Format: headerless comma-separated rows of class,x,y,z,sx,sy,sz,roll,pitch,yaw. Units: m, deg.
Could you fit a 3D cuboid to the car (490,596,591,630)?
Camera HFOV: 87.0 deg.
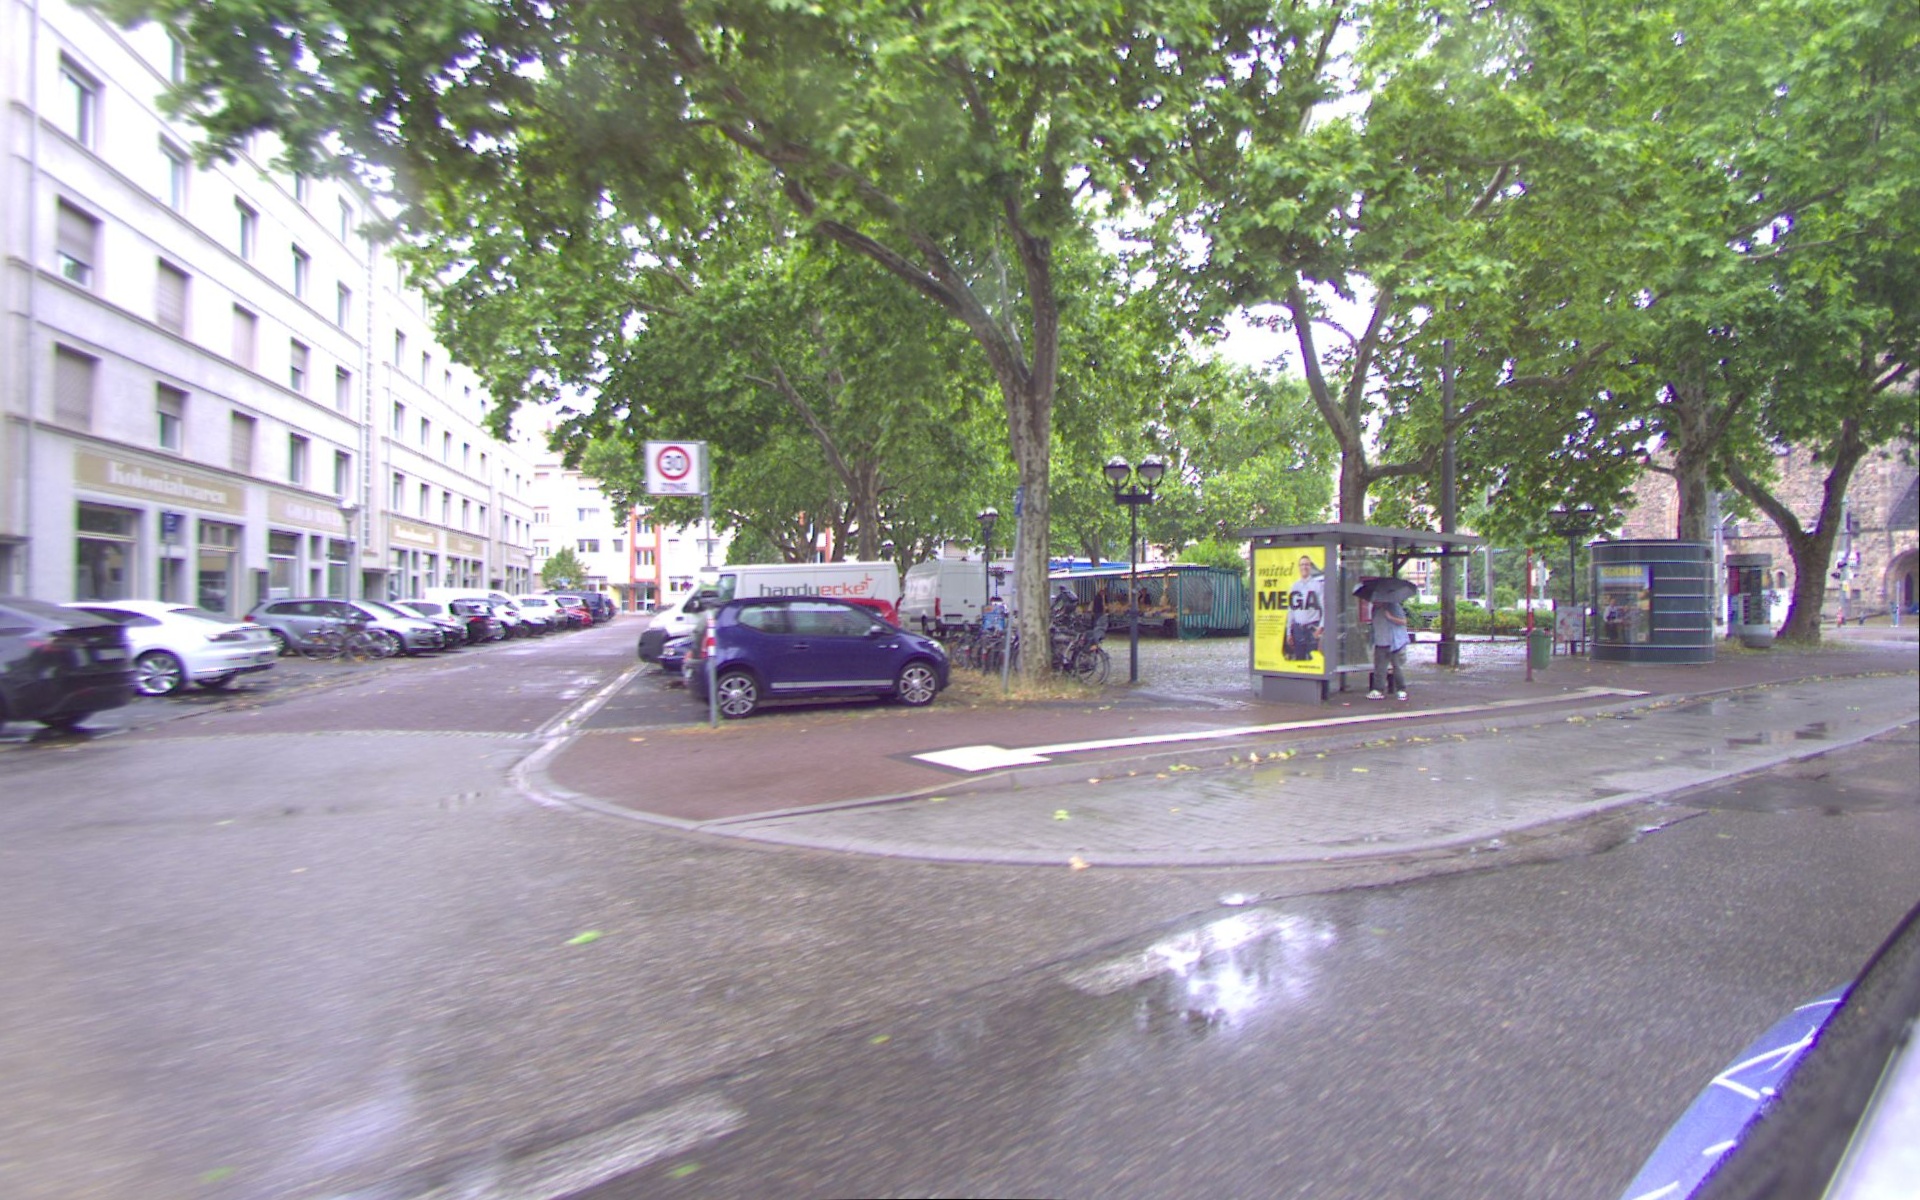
car,-21.530,0.668,52.105,4.533,1.649,2.003,0,-3,-14

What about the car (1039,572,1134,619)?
car,5.623,-0.190,45.242,3.789,2.039,1.959,0,0,-11

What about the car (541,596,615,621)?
car,-25.863,0.581,68.661,4.533,1.649,2.003,0,-3,-14

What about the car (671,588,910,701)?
car,-2.614,0.615,15.653,3.321,1.475,1.532,-2,1,-27

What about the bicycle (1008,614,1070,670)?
bicycle,1.554,0.811,20.263,0.534,0.995,2.293,0,0,-14

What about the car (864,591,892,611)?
car,-6.227,0.054,76.438,1.642,1.470,4.008,0,1,-12

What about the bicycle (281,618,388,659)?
bicycle,-14.326,0.877,23.208,2.018,0.905,0.503,0,-1,-14

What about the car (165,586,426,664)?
car,-14.866,0.560,22.946,4.533,1.649,2.003,0,-3,-14

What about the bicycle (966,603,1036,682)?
bicycle,0.681,0.703,17.629,0.695,1.274,1.844,0,0,-15

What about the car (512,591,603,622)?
car,-22.680,0.360,57.179,4.533,1.649,2.003,0,-3,-14

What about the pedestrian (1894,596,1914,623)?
pedestrian,61.530,0.604,65.959,0.622,1.724,0.678,0,0,1

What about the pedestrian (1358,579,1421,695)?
pedestrian,6.462,0.531,15.231,0.715,1.690,0.655,0,0,40

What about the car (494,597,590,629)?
car,-22.416,0.714,54.442,4.533,1.649,2.003,0,-3,-14

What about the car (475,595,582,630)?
car,-20.992,0.623,49.461,4.533,1.649,2.003,0,-3,-14

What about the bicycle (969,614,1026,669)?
bicycle,0.713,0.795,20.086,0.523,0.981,2.264,0,0,-14

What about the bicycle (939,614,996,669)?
bicycle,0.118,0.790,19.939,0.573,0.981,2.258,0,0,-14

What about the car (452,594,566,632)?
car,-20.737,0.614,46.739,4.533,1.649,2.003,0,-3,-14

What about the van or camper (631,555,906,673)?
van or camper,-3.914,0.254,21.101,5.318,2.259,2.408,0,0,-9

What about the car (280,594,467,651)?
car,-17.717,0.690,30.804,4.533,1.649,2.003,0,-3,-14

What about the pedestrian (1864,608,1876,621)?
pedestrian,61.698,1.000,68.606,0.388,0.895,0.457,1,0,-17

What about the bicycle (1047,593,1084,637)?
bicycle,3.512,0.472,33.925,0.736,1.394,2.710,1,1,-5

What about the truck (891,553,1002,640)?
truck,-0.622,-0.134,34.995,2.220,2.733,6.414,0,0,-16

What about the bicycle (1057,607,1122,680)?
bicycle,2.282,0.738,18.011,0.488,1.210,1.770,0,0,-16

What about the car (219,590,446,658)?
car,-15.881,0.612,25.902,4.533,1.649,2.003,0,-3,-14

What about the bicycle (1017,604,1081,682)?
bicycle,1.549,0.725,17.933,0.514,1.274,1.844,0,0,-16

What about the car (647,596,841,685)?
car,-3.828,0.667,18.016,3.194,1.353,1.591,-2,1,-13

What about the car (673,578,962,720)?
car,-1.906,0.556,13.383,3.449,1.570,1.697,-2,1,-22

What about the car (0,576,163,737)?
car,-11.782,0.627,10.928,4.533,1.649,2.003,0,-3,-14

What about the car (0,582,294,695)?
car,-13.484,0.601,15.964,4.533,1.649,2.003,0,-3,-14

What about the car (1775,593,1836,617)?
car,62.917,0.387,75.334,3.289,1.593,1.739,-3,0,-11

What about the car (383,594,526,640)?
car,-19.038,0.649,38.340,4.533,1.649,2.003,0,-3,-14

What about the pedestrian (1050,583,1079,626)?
pedestrian,3.508,0.155,34.008,0.731,1.415,1.048,1,0,-5

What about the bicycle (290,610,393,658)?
bicycle,-14.495,0.783,23.770,1.983,1.113,0.538,0,-1,-14

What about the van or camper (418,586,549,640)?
van or camper,-19.344,0.536,41.277,4.533,2.118,2.003,0,-3,-14

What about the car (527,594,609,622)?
car,-24.030,0.476,62.203,4.533,1.649,2.003,0,-3,-14

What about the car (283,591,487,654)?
car,-15.802,0.625,28.090,4.533,1.649,2.003,0,-3,-14
